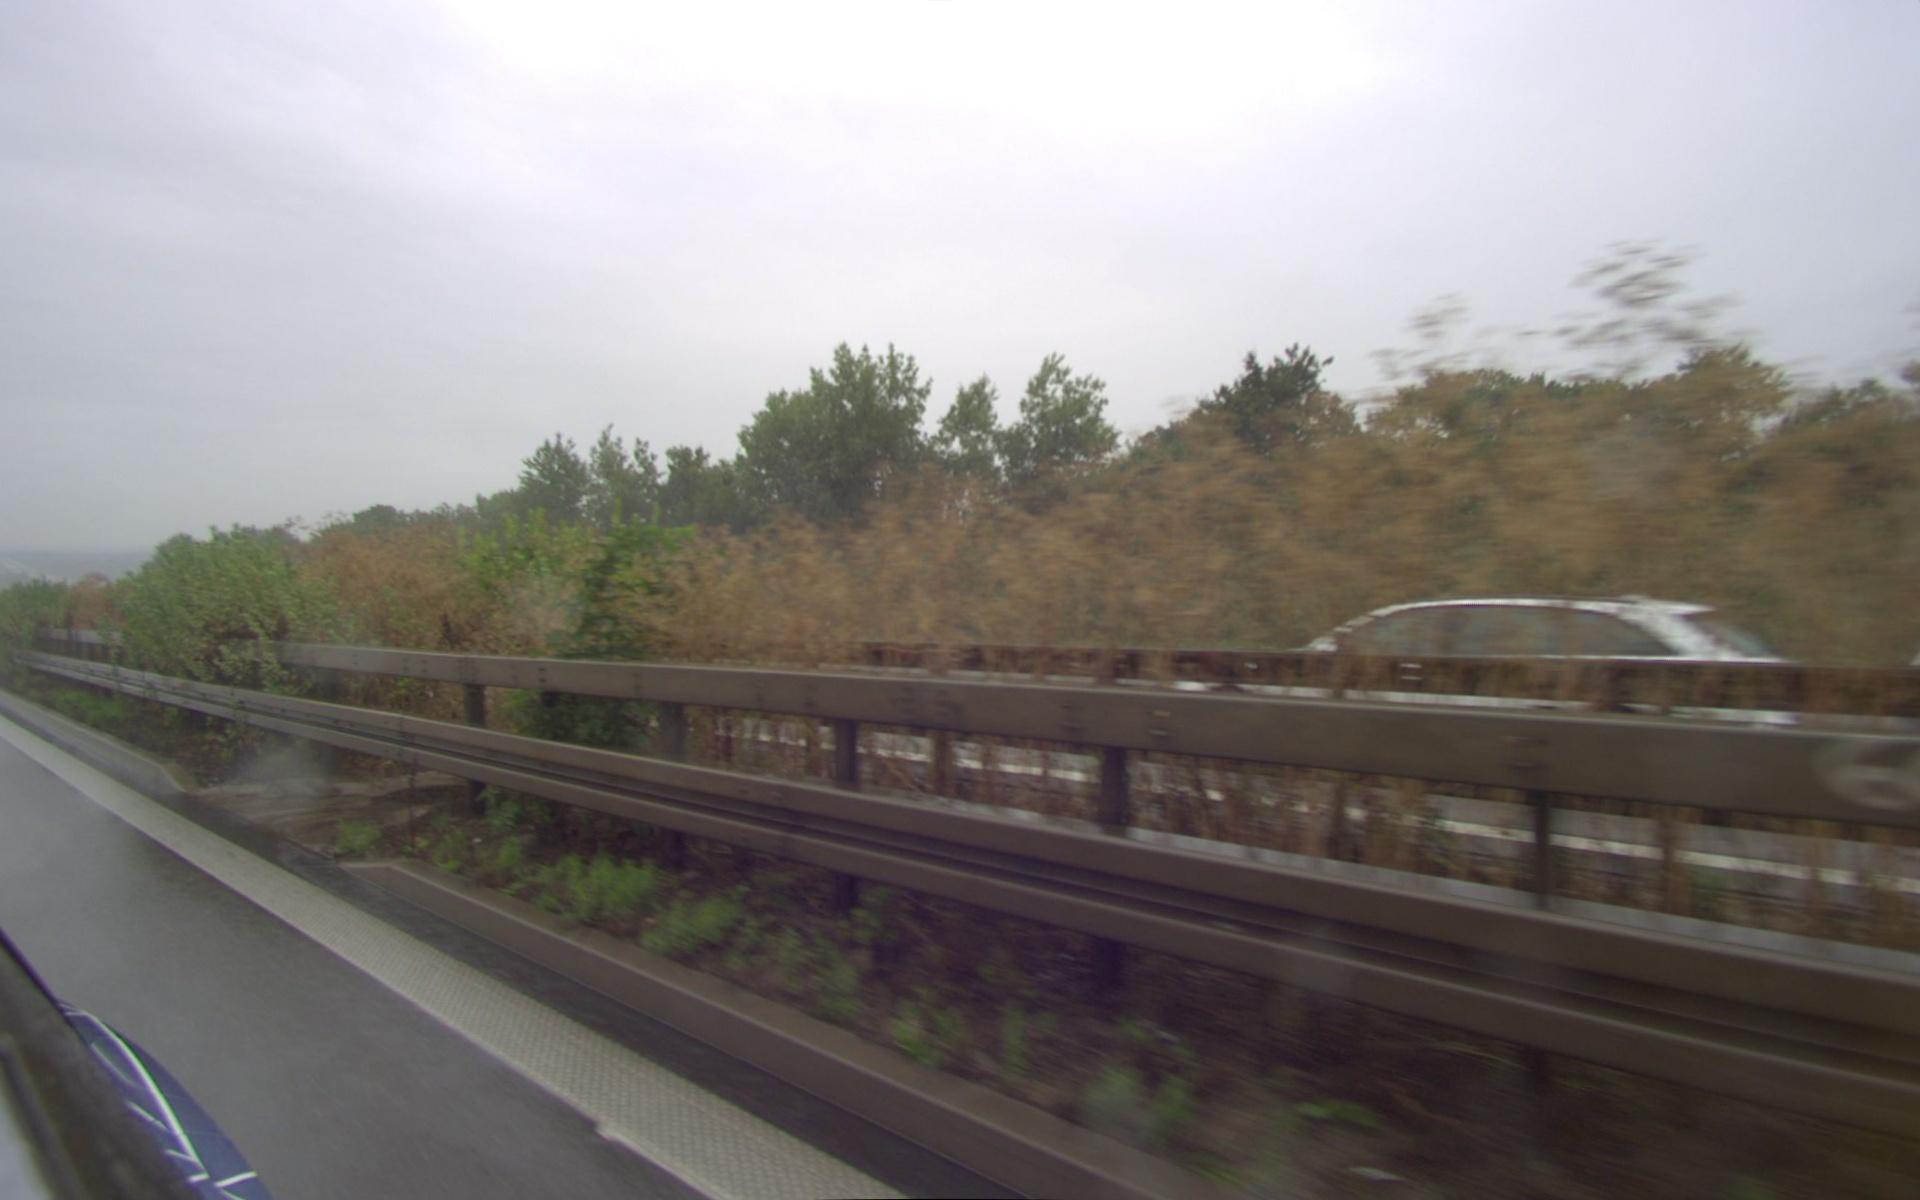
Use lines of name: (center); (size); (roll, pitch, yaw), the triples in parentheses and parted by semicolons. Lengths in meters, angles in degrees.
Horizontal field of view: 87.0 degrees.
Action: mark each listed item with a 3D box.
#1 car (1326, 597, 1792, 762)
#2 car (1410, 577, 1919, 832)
car: (8.211, 0.952, 14.301); (5.395, 1.927, 1.974); (-1, 0, 39)
car: (6.017, 0.594, 6.522); (5.395, 1.442, 1.974); (-1, 0, 39)
